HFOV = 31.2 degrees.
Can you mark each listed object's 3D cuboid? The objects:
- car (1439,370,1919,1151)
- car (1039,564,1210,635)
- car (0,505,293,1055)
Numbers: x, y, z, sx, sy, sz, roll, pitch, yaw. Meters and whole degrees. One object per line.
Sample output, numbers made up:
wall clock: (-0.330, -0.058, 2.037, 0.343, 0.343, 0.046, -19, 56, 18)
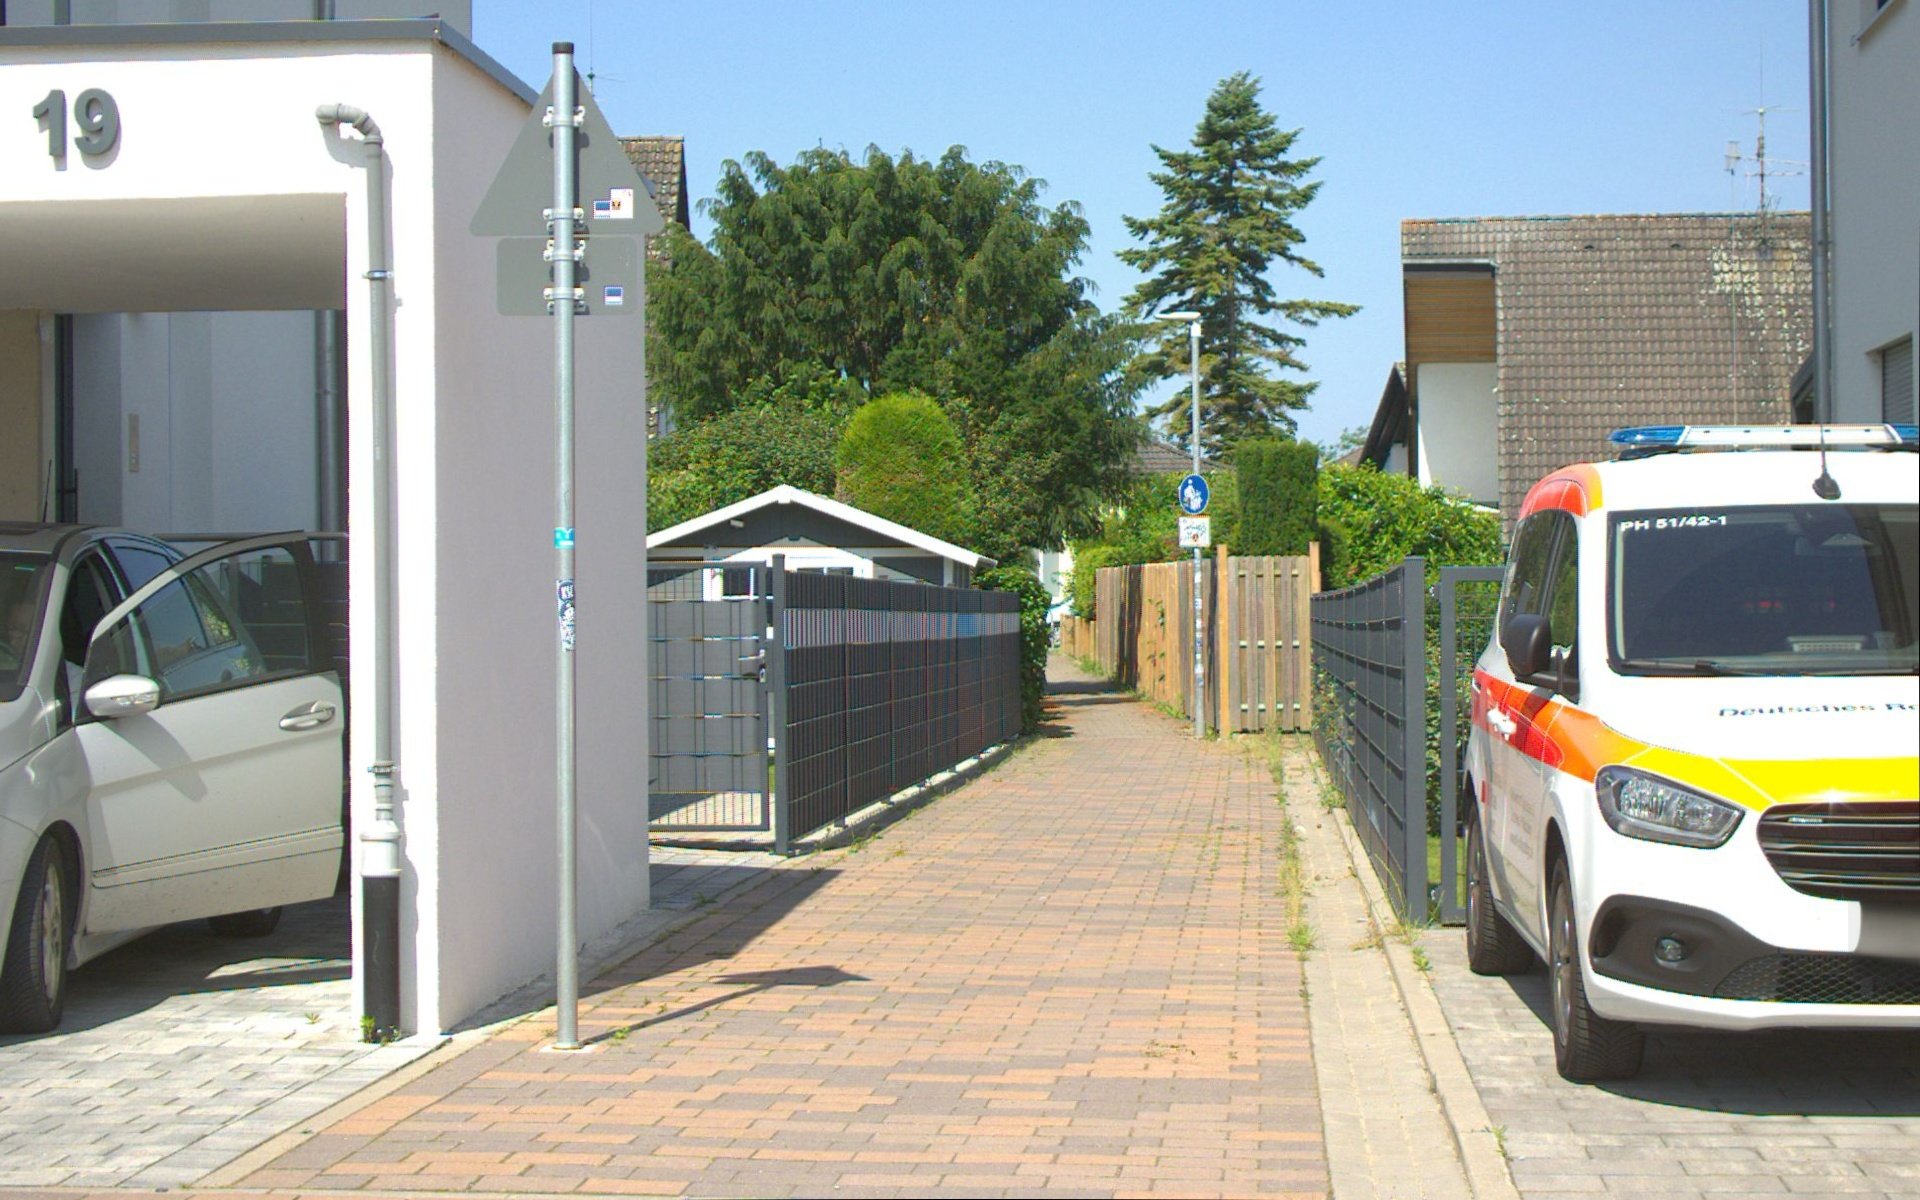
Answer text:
car: (2.623, 0.381, 10.588, 1.932, 1.868, 4.751, 0, 0, 4)
car: (4.053, -0.022, 84.607, 4.147, 1.711, 1.905, 0, 0, 4)
car: (-3.557, 0.517, 11.582, 1.739, 1.557, 4.165, 0, 0, 1)
